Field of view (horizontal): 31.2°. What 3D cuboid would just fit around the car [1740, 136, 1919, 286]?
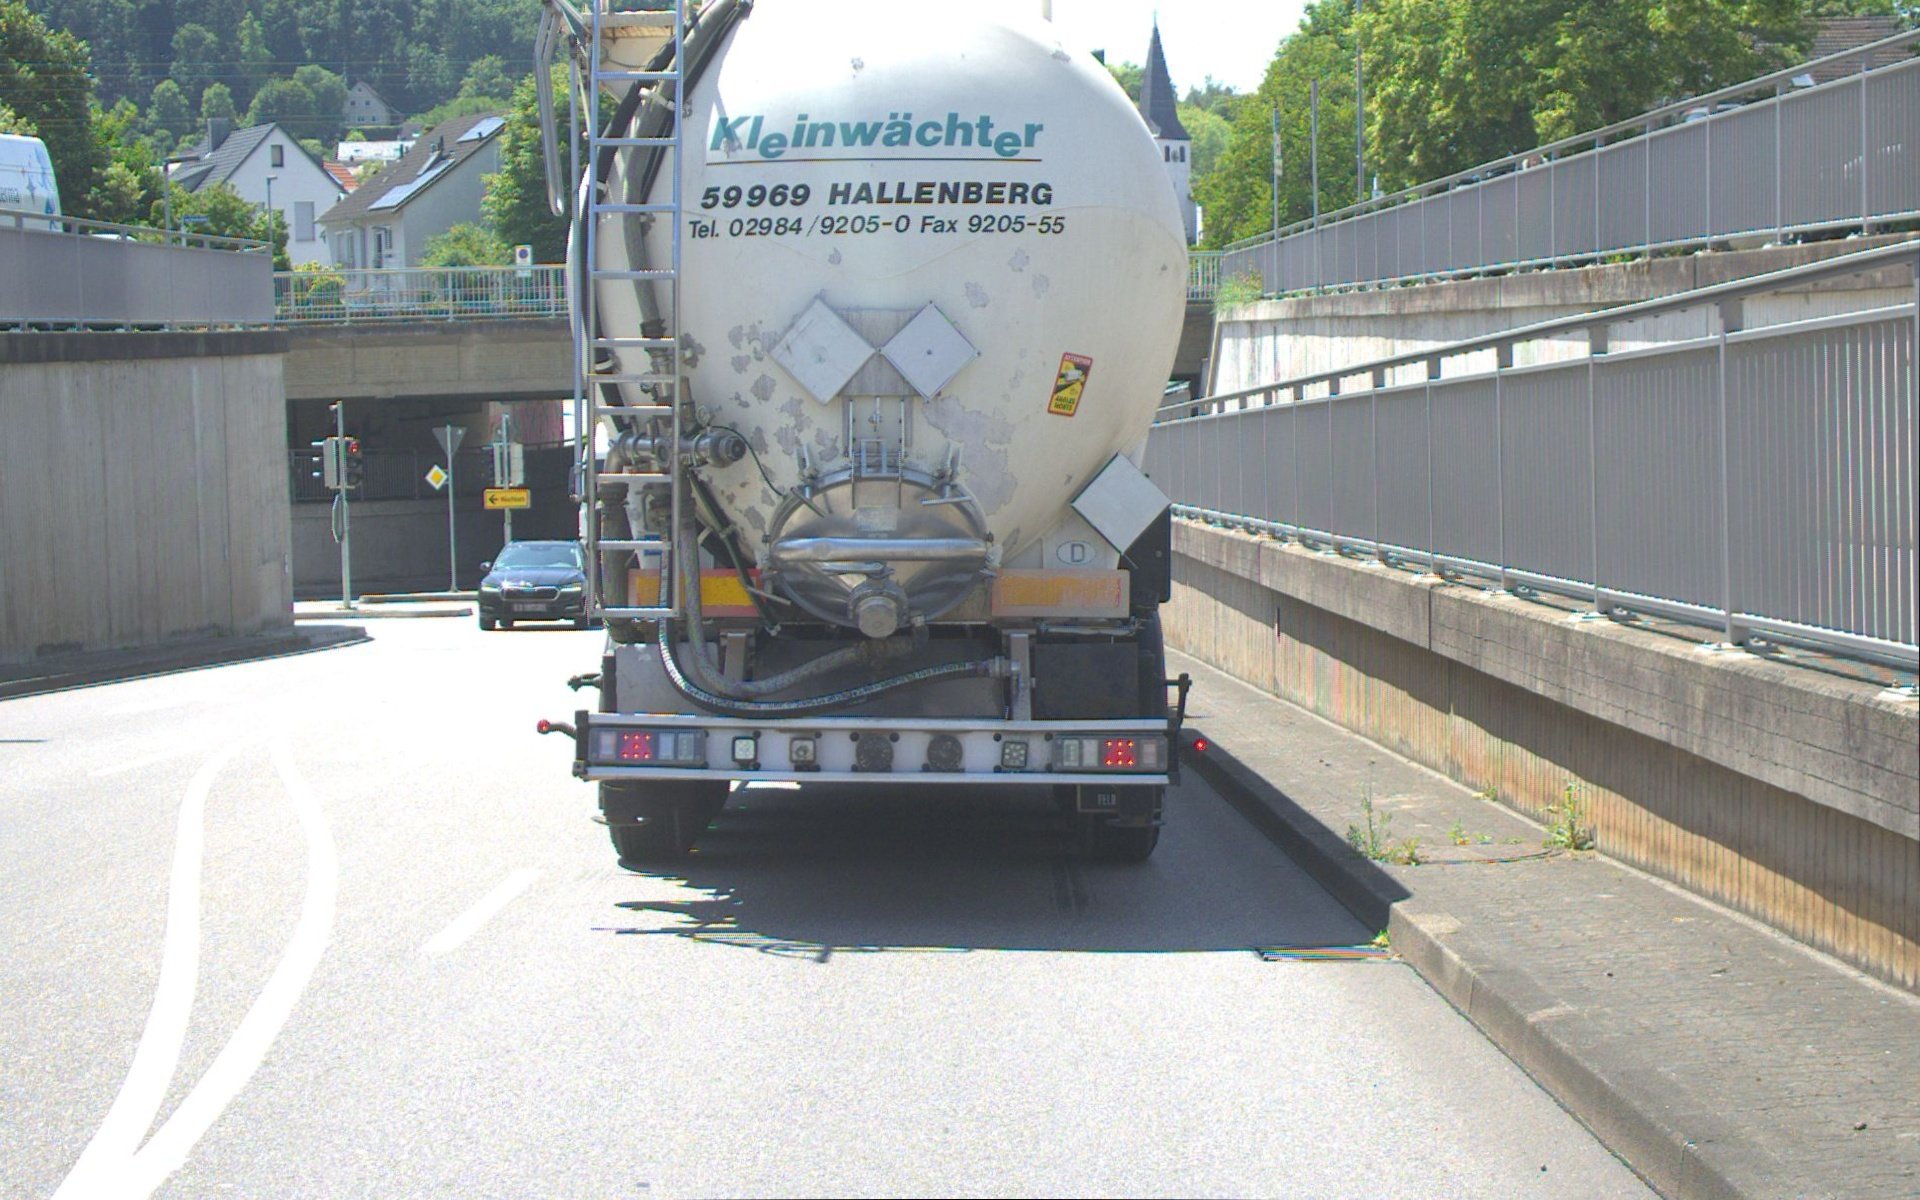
[{"bbox_3d":[9.731,-3.790,33.461,3.906,1.362,1.686,-1,4,1],"label":"car"}]

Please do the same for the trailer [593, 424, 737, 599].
[{"bbox_3d":[-6.959,-2.074,82.237,2.610,3.950,9.347,0,1,0],"label":"trailer"}]

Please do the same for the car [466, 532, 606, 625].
[{"bbox_3d":[-7.011,-0.382,57.230,1.760,1.484,4.369,0,1,0],"label":"car"}]

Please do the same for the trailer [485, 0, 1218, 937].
[{"bbox_3d":[-0.336,-0.909,19.505,2.735,4.050,13.313,0,1,1],"label":"trailer"}]

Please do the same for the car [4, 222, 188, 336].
[{"bbox_3d":[-12.049,-4.468,48.185,1.618,1.495,4.045,1,4,-1],"label":"car"}]

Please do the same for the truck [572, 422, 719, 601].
[{"bbox_3d":[-7.005,-1.949,77.254,2.662,3.847,6.580,0,1,0],"label":"truck"}]

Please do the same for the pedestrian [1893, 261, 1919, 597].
[{"bbox_3d":[5.501,-0.912,18.307,0.836,1.775,0.788,-1,2,0],"label":"pedestrian"}]

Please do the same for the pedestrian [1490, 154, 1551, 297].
[{"bbox_3d":[7.143,-4.766,43.803,0.673,1.773,0.594,-1,4,1],"label":"pedestrian"}]

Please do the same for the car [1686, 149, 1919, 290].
[{"bbox_3d":[9.711,-3.973,35.898,3.906,1.362,1.686,-1,4,1],"label":"car"}]

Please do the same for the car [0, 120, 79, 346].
[{"bbox_3d":[-11.805,-4.164,39.058,2.065,2.527,5.663,1,4,1],"label":"car"}]

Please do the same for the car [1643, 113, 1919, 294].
[{"bbox_3d":[9.730,-4.410,38.322,3.906,1.878,1.686,-1,4,1],"label":"car"}]
